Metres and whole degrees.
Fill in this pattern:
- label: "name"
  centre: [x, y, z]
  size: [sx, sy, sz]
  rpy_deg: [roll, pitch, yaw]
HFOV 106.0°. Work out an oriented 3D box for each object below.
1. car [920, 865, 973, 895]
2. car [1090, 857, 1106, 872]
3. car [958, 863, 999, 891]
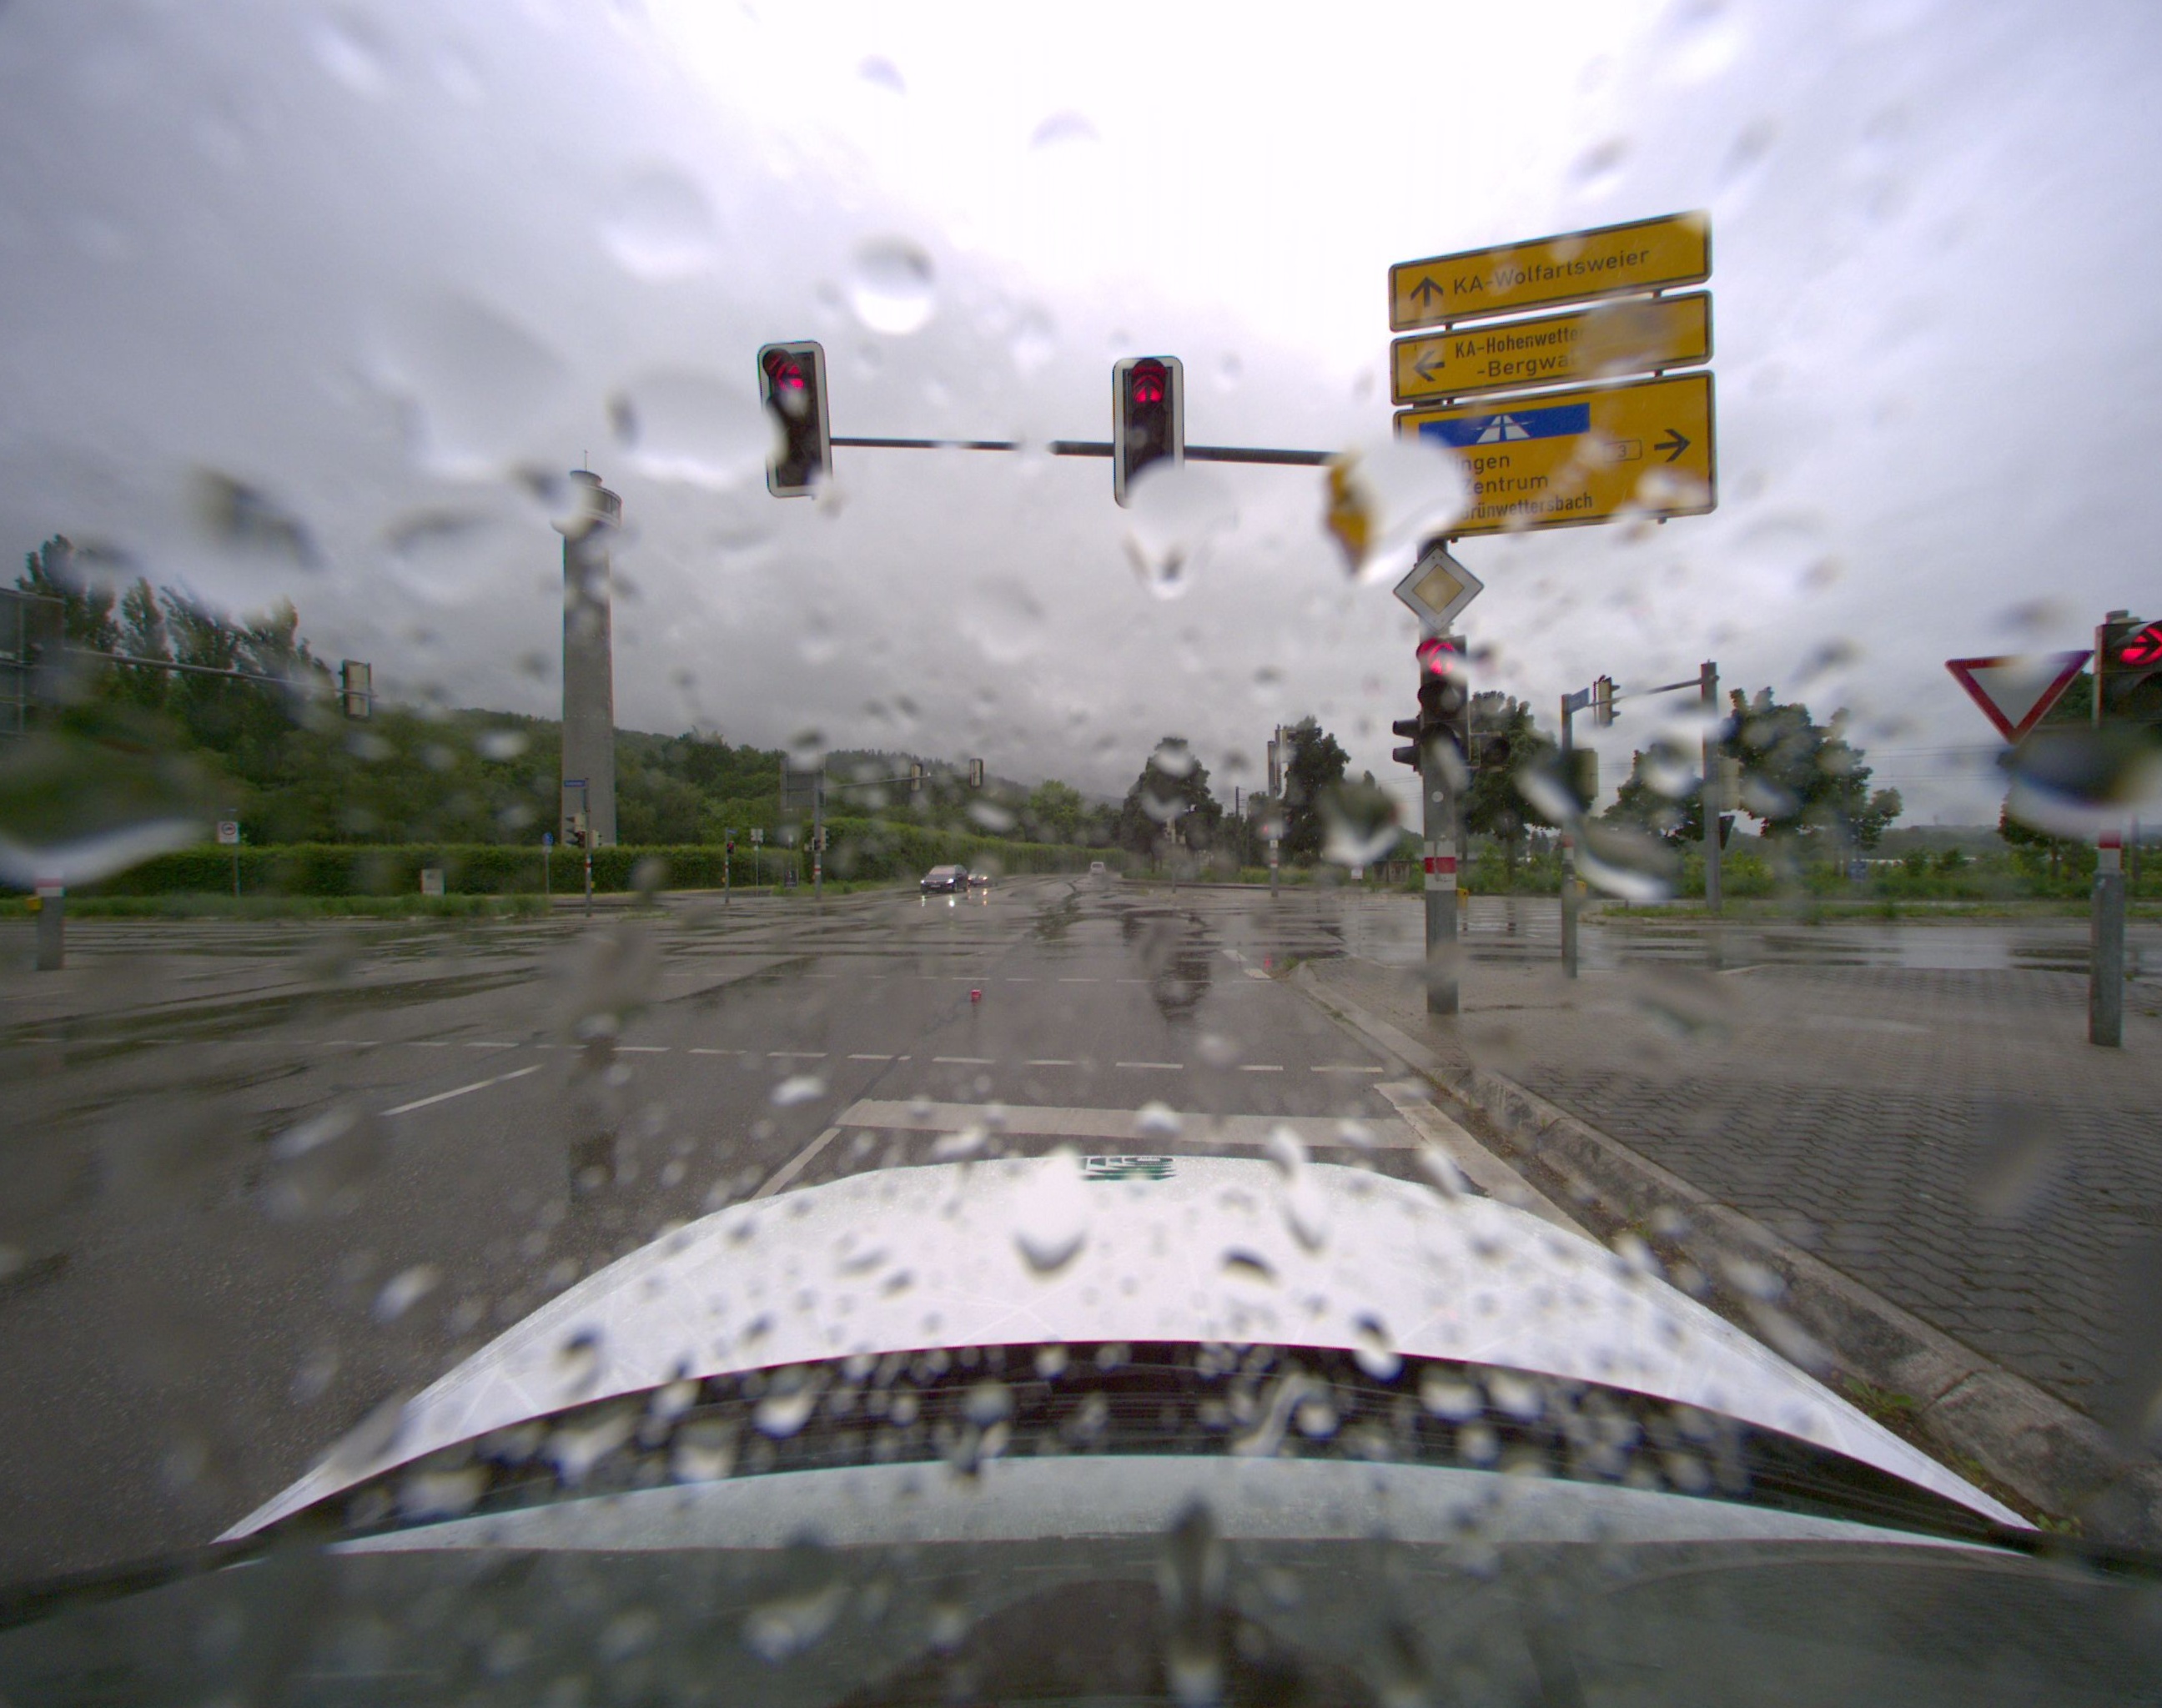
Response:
- label: "car"
  centre: [-7.159, 1.347, 43.755]
  size: [1.701, 1.466, 4.458]
  rpy_deg: [-1, 0, 5]
- label: "car"
  centre: [2.170, 1.365, 105.287]
  size: [1.947, 1.904, 4.120]
  rpy_deg: [-1, 0, 1]
- label: "car"
  centre: [-6.770, 1.485, 54.089]
  size: [2.029, 1.708, 4.067]
  rpy_deg: [-1, 0, 2]
